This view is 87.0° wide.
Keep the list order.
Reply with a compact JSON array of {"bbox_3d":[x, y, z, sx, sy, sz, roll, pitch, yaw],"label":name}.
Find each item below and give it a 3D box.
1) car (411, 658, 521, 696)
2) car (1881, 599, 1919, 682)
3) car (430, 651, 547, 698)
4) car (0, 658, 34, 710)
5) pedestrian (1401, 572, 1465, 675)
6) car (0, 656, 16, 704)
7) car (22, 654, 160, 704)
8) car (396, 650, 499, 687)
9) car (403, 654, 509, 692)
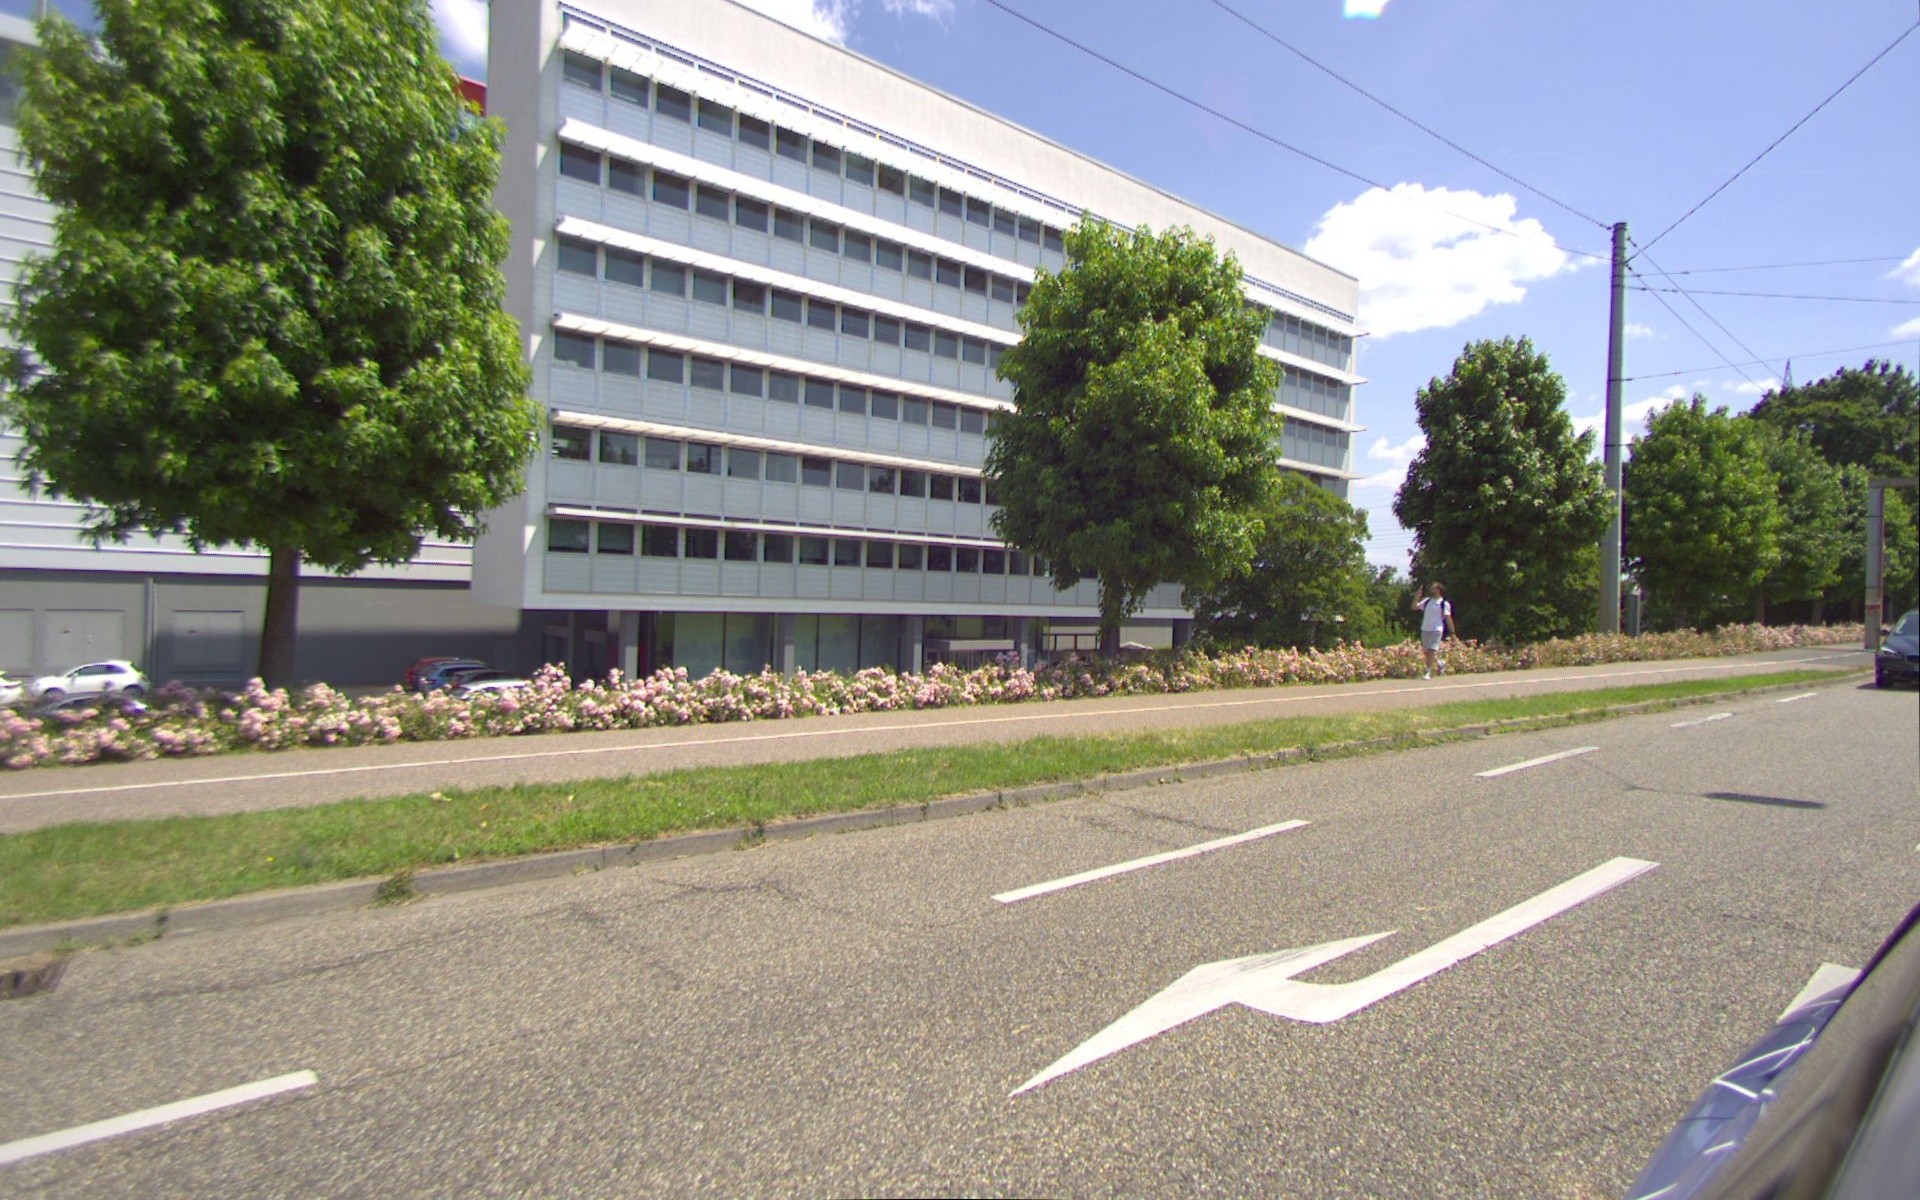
[{"bbox_3d":[-20.934,3.241,42.977,3.931,1.338,1.607,0,0,-41],"label":"car"},{"bbox_3d":[19.648,0.758,19.896,4.027,1.546,1.764,0,-1,-41],"label":"car"},{"bbox_3d":[-19.235,2.982,41.362,3.931,1.632,1.996,0,0,-41],"label":"car"},{"bbox_3d":[-34.669,2.925,34.100,5.057,1.632,1.996,0,0,-41],"label":"car"},{"bbox_3d":[8.864,0.433,18.964,0.914,1.872,0.758,0,-1,-39],"label":"pedestrian"},{"bbox_3d":[-36.500,2.927,36.187,3.931,1.632,1.996,0,0,-41],"label":"car"},{"bbox_3d":[-33.275,2.985,38.872,3.931,1.632,1.996,0,0,-41],"label":"car"},{"bbox_3d":[-23.798,3.143,47.040,3.931,1.465,1.996,0,0,-41],"label":"car"},{"bbox_3d":[-22.234,3.198,44.694,3.931,1.403,1.646,0,0,-41],"label":"car"}]
